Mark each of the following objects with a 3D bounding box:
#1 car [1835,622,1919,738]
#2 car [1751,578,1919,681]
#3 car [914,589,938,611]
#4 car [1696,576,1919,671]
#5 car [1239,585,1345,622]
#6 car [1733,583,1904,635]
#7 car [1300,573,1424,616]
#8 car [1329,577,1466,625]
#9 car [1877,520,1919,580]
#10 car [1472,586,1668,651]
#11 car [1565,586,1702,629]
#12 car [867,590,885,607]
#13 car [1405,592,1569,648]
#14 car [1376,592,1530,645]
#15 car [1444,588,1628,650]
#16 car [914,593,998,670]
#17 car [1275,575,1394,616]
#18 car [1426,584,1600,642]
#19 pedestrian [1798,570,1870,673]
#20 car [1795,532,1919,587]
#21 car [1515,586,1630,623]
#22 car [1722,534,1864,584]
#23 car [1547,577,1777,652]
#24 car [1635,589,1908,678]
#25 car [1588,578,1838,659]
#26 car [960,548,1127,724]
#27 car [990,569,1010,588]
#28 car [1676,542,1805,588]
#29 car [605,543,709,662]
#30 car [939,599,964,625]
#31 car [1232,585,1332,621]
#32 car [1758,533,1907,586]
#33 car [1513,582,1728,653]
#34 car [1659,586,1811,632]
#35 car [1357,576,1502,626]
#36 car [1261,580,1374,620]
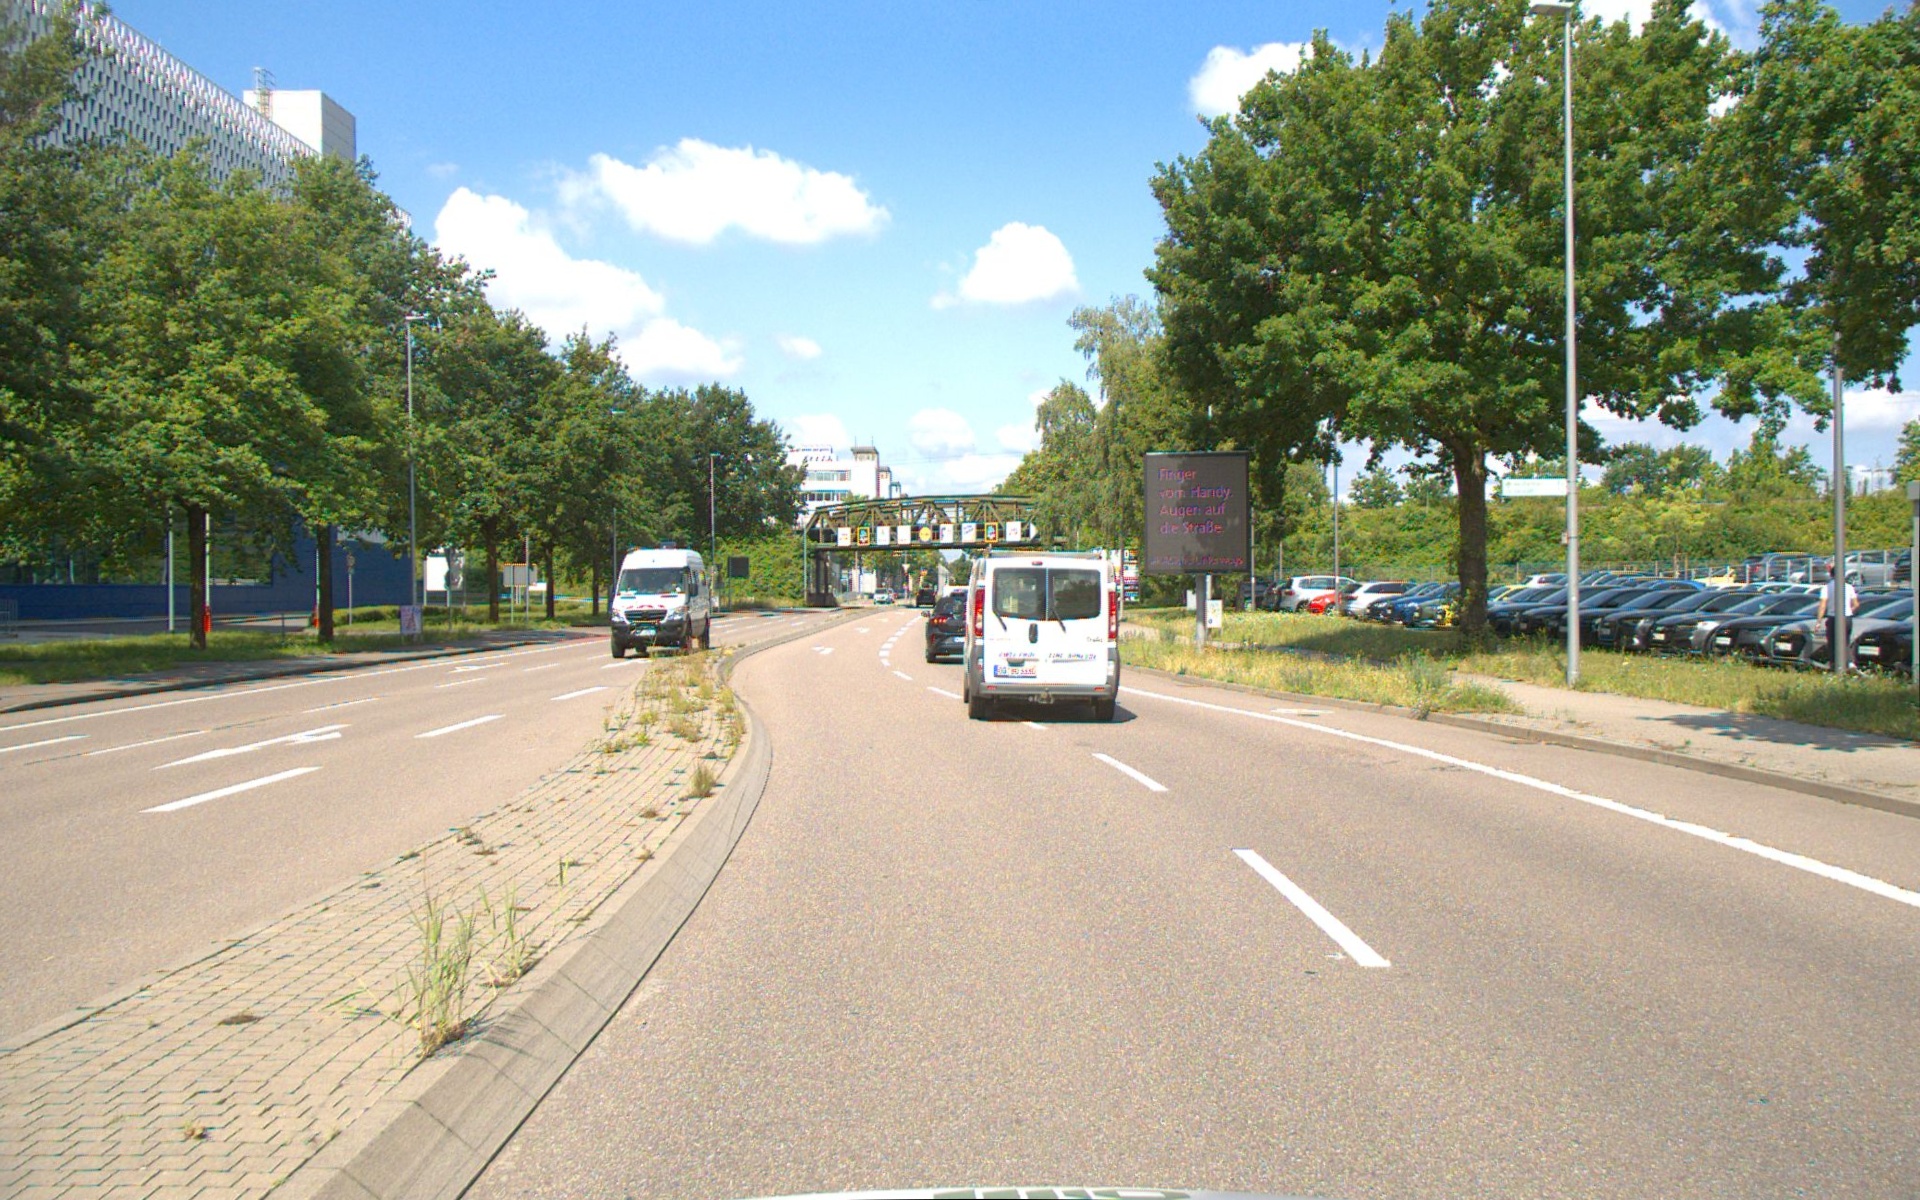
[{"bbox_3d":[15.414,1.158,24.118,4.265,1.539,1.912,1,2,1],"label":"car"},{"bbox_3d":[15.348,0.458,26.644,4.266,1.539,1.936,1,2,-1],"label":"car"},{"bbox_3d":[-3.073,-0.017,148.938,1.952,1.802,4.002,1,2,1],"label":"car"},{"bbox_3d":[15.517,0.392,29.088,4.266,1.539,1.936,1,2,-1],"label":"car"},{"bbox_3d":[14.640,0.140,73.035,4.266,1.539,1.936,1,2,-1],"label":"car"},{"bbox_3d":[26.222,0.271,50.607,4.257,1.525,1.907,0,0,0],"label":"car"},{"bbox_3d":[15.455,-0.222,63.749,4.266,1.539,1.936,1,2,-1],"label":"car"},{"bbox_3d":[15.246,0.023,57.804,4.266,1.539,1.936,1,2,-1],"label":"car"},{"bbox_3d":[31.000,-1.526,51.070,4.263,1.805,1.937,1,2,3],"label":"car"},{"bbox_3d":[15.511,0.451,42.183,4.266,1.539,1.936,1,2,-1],"label":"car"},{"bbox_3d":[24.667,0.266,60.650,4.257,1.525,1.907,0,0,0],"label":"car"},{"bbox_3d":[-10.695,-0.201,211.131,1.952,2.049,4.001,0,0,2],"label":"car"},{"bbox_3d":[15.688,0.574,49.407,4.266,1.539,1.936,1,2,-1],"label":"car"},{"bbox_3d":[15.495,0.564,52.147,4.266,1.539,1.936,1,2,-1],"label":"car"},{"bbox_3d":[15.463,0.495,44.573,4.266,1.539,1.936,1,2,-1],"label":"car"},{"bbox_3d":[-0.147,0.706,39.224,1.739,1.657,3.997,0,1,-4],"label":"car"},{"bbox_3d":[14.953,-0.203,66.201,4.266,1.539,1.936,1,2,-1],"label":"car"},{"bbox_3d":[15.669,0.353,46.983,4.266,1.539,1.936,1,2,-1],"label":"car"},{"bbox_3d":[12.949,0.307,24.514,0.620,1.484,0.772,1,2,-1],"label":"pedestrian"},{"bbox_3d":[31.146,-1.374,56.437,4.263,1.805,1.937,1,2,3],"label":"car"},{"bbox_3d":[26.286,0.197,71.091,4.257,1.525,1.907,0,0,0],"label":"car"},{"bbox_3d":[31.054,-1.540,61.756,4.263,1.805,1.937,1,2,3],"label":"car"},{"bbox_3d":[15.500,0.294,36.681,4.266,1.539,1.936,1,2,-1],"label":"car"},{"bbox_3d":[15.443,0.616,31.647,4.266,1.539,1.936,1,2,-1],"label":"car"},{"bbox_3d":[15.450,0.351,34.105,4.266,1.539,1.936,1,2,-1],"label":"car"},{"bbox_3d":[0.990,0.378,21.945,1.933,2.095,4.564,0,1,-1],"label":"car"},{"bbox_3d":[5.308,-2.877,220.790,2.328,2.518,4.765,0,0,6],"label":"car"},{"bbox_3d":[31.475,-1.431,66.757,4.263,1.805,1.937,1,2,3],"label":"car"},{"bbox_3d":[-7.995,0.052,44.160,1.983,2.944,6.377,0,0,-4],"label":"car"},{"bbox_3d":[-0.694,0.982,137.738,1.952,2.049,4.000,0,0,1],"label":"car"},{"bbox_3d":[14.942,0.126,76.862,4.266,1.539,1.936,1,2,-1],"label":"car"},{"bbox_3d":[31.103,-1.467,59.044,4.263,1.805,1.937,1,2,3],"label":"car"},{"bbox_3d":[15.516,0.395,39.004,4.266,1.539,1.936,1,2,-1],"label":"car"},{"bbox_3d":[26.152,0.293,55.893,4.257,1.525,1.907,0,0,0],"label":"car"},{"bbox_3d":[15.637,0.026,55.202,4.266,1.539,1.936,1,2,-1],"label":"car"},{"bbox_3d":[14.843,-0.023,68.784,4.266,1.539,1.936,1,2,-1],"label":"car"}]
